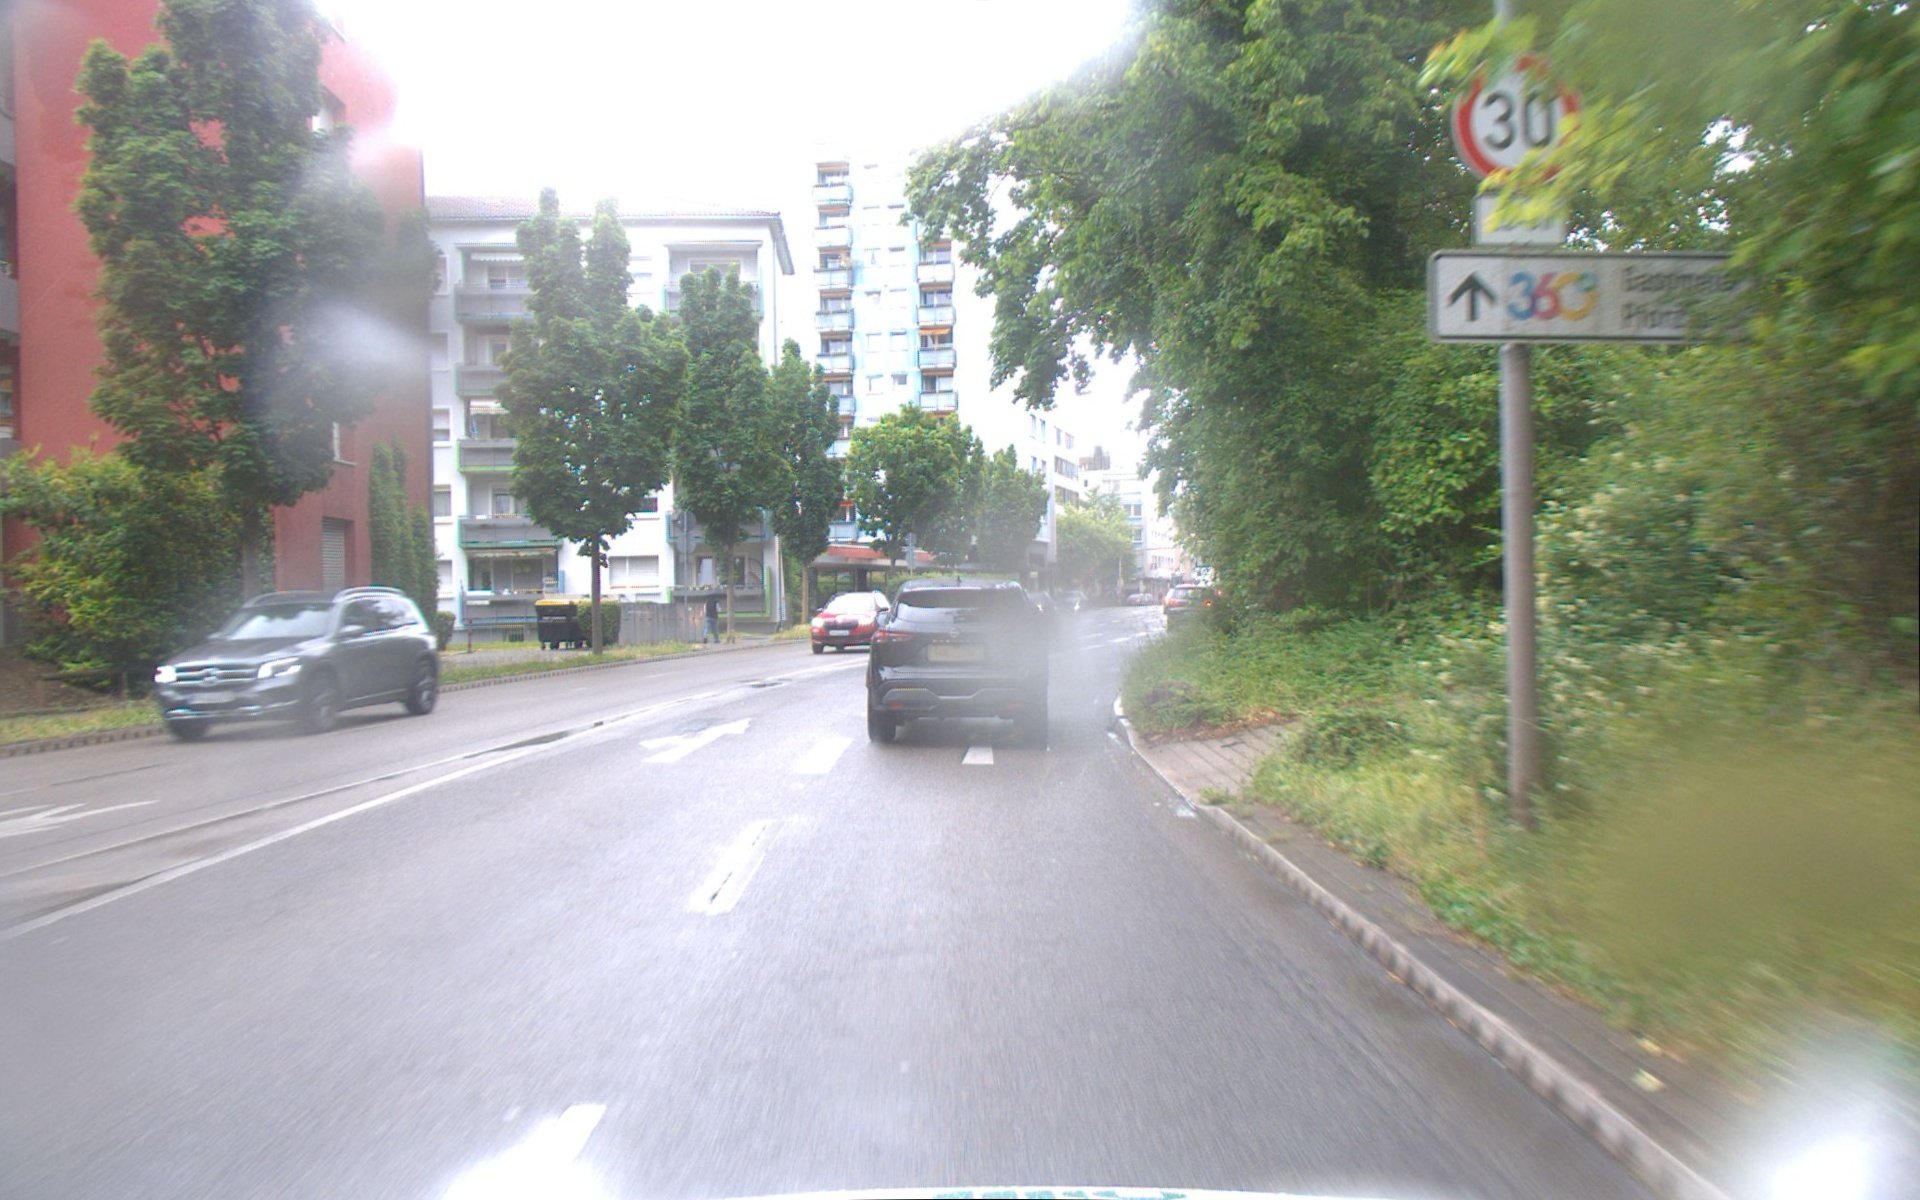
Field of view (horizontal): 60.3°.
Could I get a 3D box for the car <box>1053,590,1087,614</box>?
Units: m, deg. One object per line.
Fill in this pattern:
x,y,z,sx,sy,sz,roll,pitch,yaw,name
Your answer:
7.297,0.134,109.448,1.834,1.414,4.631,-3,0,9,car

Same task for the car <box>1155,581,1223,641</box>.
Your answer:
8.452,0.370,60.813,1.951,2.049,4.003,-1,1,15,car

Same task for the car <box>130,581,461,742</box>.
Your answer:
-8.039,0.662,20.558,1.882,1.659,4.504,-3,1,5,car

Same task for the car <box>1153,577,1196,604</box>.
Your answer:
12.287,-0.563,94.574,2.022,1.489,4.591,-1,1,13,car

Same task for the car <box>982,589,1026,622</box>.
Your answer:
2.432,0.279,89.592,1.834,1.630,4.468,-3,0,8,car

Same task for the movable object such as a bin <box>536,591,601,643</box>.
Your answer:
-10.862,0.449,45.974,1.132,1.354,1.968,-2,1,6,movable object such as a bin

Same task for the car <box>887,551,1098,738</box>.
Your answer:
0.253,0.401,17.440,1.920,1.681,3.999,-2,0,-2,car

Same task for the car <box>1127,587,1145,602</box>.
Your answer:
19.119,-0.576,179.801,1.637,1.504,3.611,-3,0,11,car

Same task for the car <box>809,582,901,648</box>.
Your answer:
-2.688,0.349,43.273,1.640,1.590,4.145,1,1,7,car

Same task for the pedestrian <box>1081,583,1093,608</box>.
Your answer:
10.541,-0.352,137.422,0.920,2.049,0.887,-3,0,4,pedestrian

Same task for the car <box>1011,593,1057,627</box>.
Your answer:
3.493,0.433,77.593,1.802,1.409,4.364,-3,0,7,car

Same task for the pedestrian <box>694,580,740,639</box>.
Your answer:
-7.794,0.292,53.115,1.110,1.835,1.264,-2,0,9,pedestrian
